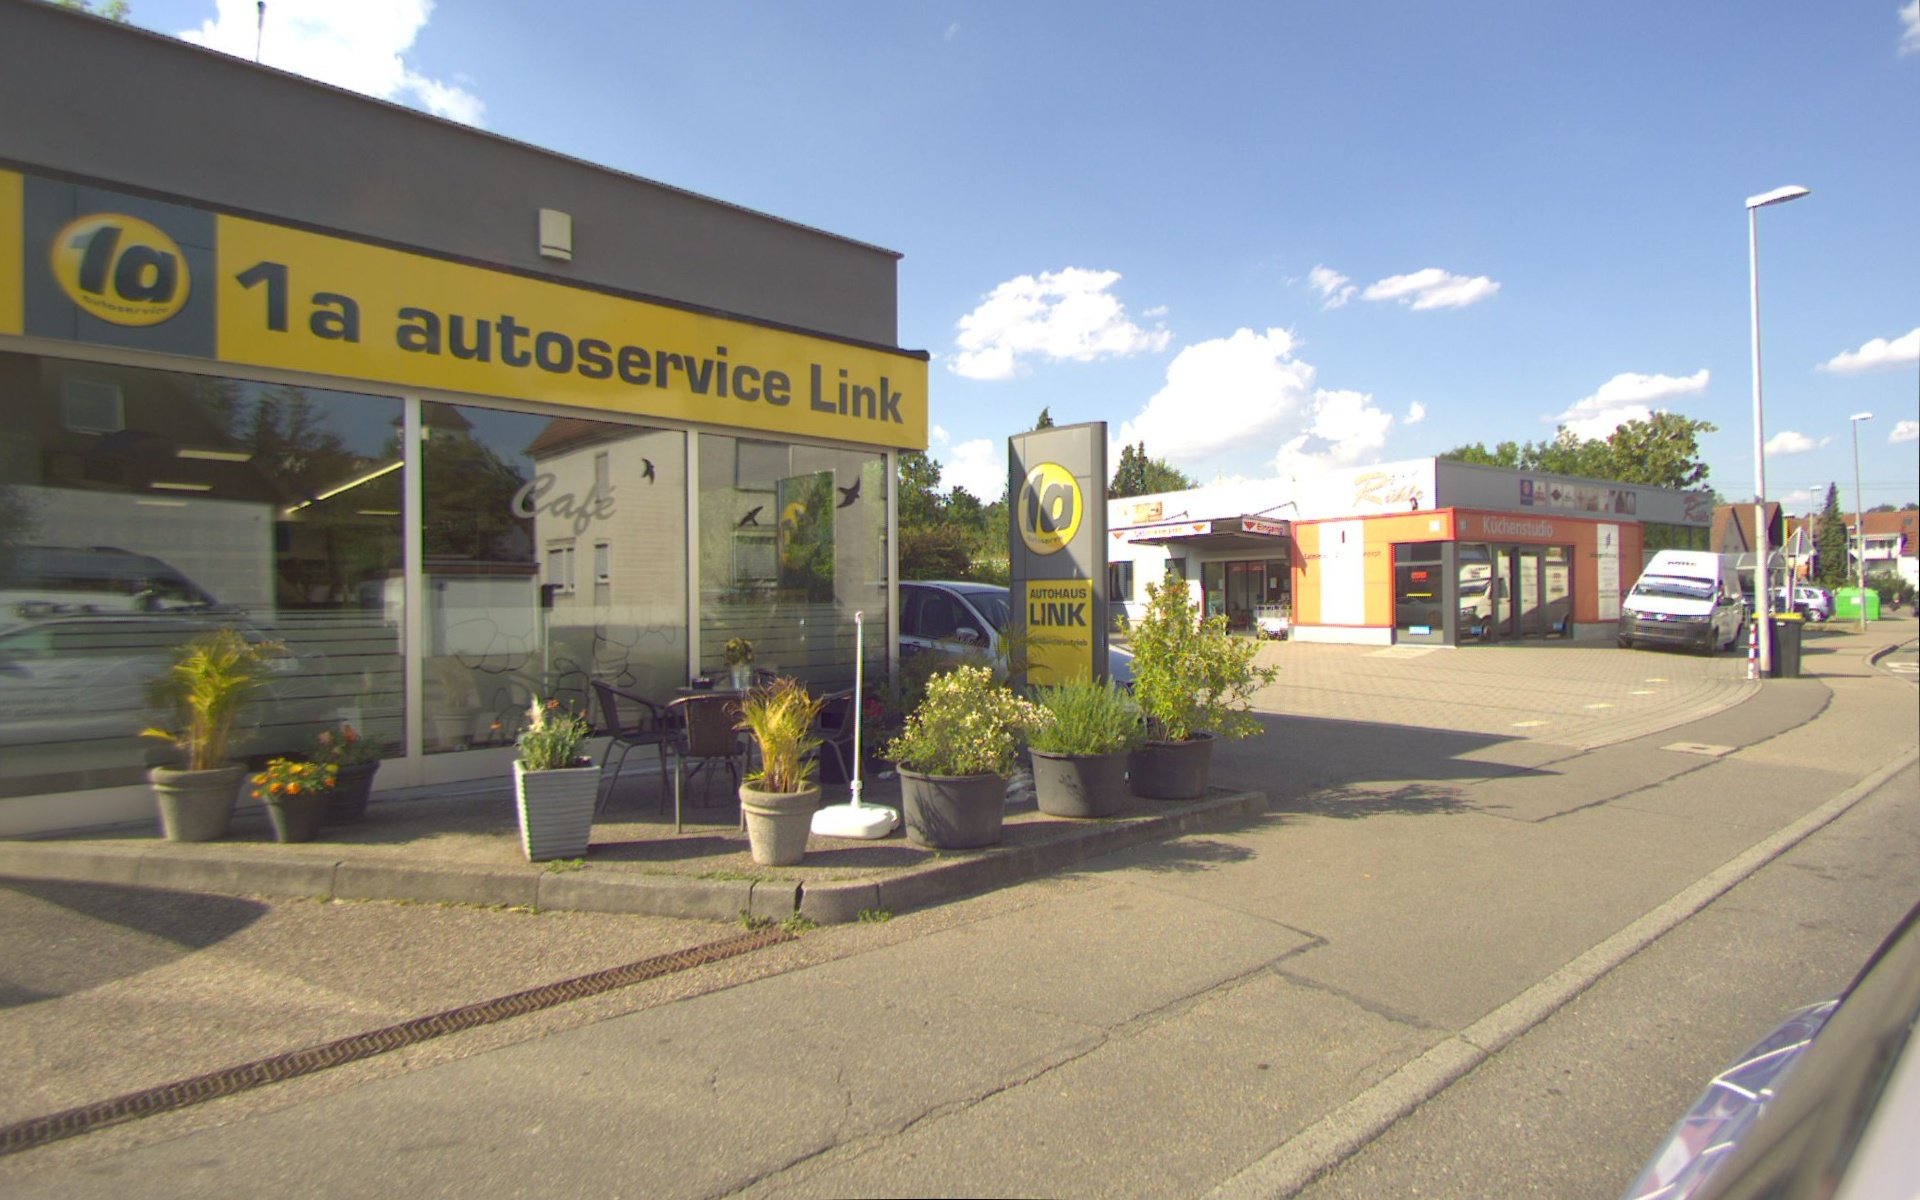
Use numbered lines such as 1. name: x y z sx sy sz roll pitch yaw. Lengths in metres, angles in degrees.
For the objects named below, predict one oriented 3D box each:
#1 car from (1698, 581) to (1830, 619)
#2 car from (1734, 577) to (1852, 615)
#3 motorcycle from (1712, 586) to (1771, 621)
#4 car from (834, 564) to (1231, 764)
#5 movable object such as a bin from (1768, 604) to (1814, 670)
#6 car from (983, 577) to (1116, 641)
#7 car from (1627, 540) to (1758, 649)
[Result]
1. car: 33.376 -0.029 42.098 1.596 1.434 4.075 -2 2 -38
2. car: 37.779 -0.188 45.962 1.653 1.623 3.946 -2 2 -41
3. motorcycle: 31.618 0.135 40.970 1.817 1.340 0.633 1 1 32
4. car: 0.503 0.487 9.869 1.501 1.550 3.994 -1 0 -40
5. movable object such as a bin: 14.184 0.612 17.271 0.567 1.088 0.564 0 1 44
6. car: 2.426 0.211 28.011 1.611 1.615 3.641 -2 1 -37
7. car: 18.022 -0.182 24.794 1.837 2.404 5.096 2 2 44
